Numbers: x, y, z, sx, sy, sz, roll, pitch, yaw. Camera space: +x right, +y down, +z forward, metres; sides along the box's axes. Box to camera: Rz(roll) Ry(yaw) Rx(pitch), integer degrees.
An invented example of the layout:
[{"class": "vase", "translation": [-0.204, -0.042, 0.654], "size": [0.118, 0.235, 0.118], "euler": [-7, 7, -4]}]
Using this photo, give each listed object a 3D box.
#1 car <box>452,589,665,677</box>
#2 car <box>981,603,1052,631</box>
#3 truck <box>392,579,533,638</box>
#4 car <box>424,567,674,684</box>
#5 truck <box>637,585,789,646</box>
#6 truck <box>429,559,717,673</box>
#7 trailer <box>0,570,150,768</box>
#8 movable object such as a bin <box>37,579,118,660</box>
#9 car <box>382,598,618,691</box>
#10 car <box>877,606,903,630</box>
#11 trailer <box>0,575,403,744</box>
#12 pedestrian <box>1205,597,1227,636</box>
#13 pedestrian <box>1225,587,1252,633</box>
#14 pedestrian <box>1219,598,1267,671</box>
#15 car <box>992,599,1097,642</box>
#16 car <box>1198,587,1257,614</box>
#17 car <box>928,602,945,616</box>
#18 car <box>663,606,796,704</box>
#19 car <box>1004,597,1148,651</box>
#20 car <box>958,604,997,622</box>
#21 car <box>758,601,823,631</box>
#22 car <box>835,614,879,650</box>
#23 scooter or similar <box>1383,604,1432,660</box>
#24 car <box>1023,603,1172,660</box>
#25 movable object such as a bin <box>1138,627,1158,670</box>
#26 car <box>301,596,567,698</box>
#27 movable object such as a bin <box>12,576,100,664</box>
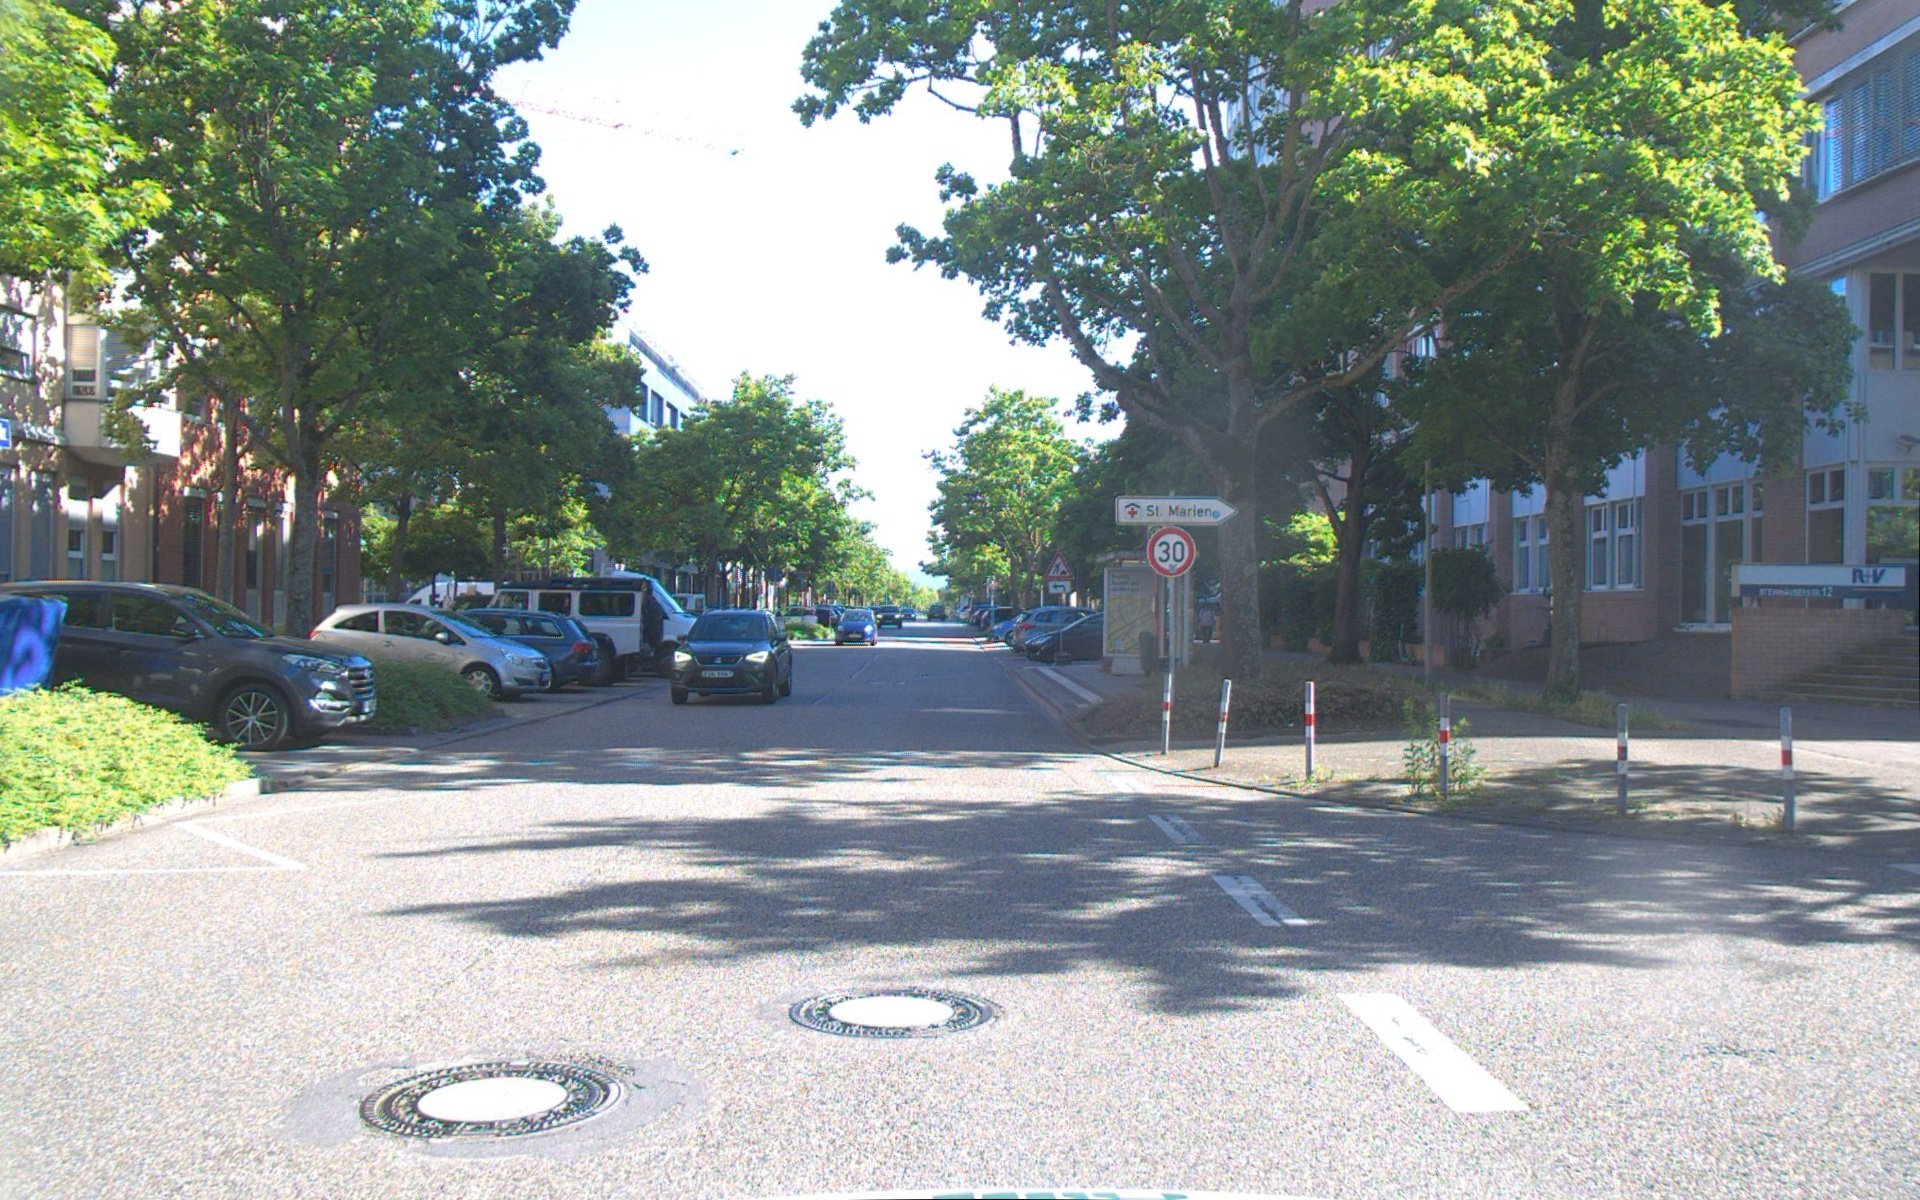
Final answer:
[{"class": "car", "translation": [-8.498, 0.699, 35.292], "size": [4.024, 1.691, 1.999], "euler": [2, -1, -1]}, {"class": "car", "translation": [3.417, 1.006, 101.225], "size": [4.183, 1.662, 1.857], "euler": [0, 0, -4]}, {"class": "truck", "translation": [-23.641, 0.395, 78.830], "size": [5.982, 2.752, 2.576], "euler": [0, 0, -3]}, {"class": "car", "translation": [-8.084, 0.506, 32.833], "size": [4.390, 2.087, 2.000], "euler": [2, -1, -1]}, {"class": "truck", "translation": [-8.512, 0.539, 57.351], "size": [4.882, 1.993, 2.138], "euler": [1, 0, 1]}, {"class": "truck", "translation": [-8.830, 0.369, 38.172], "size": [6.105, 2.464, 2.187], "euler": [1, 0, -1]}, {"class": "trailer", "translation": [-9.310, 0.567, 15.363], "size": [2.669, 1.717, 1.712], "euler": [2, 0, -1]}, {"class": "movable object such as a bin", "translation": [-17.653, 0.393, 33.126], "size": [1.125, 1.590, 1.240], "euler": [0, 0, -13]}, {"class": "car", "translation": [-8.268, 0.785, 29.980], "size": [3.701, 1.518, 1.833], "euler": [2, 0, 0]}, {"class": "car", "translation": [-5.188, 1.319, 122.720], "size": [1.854, 1.713, 4.350], "euler": [0, 0, -3]}, {"class": "trailer", "translation": [-8.377, 0.600, 17.700], "size": [4.177, 1.599, 1.854], "euler": [2, 0, -5]}, {"class": "pedestrian", "translation": [9.729, 0.636, 62.897], "size": [0.686, 1.483, 0.715], "euler": [0, 0, -3]}, {"class": "pedestrian", "translation": [10.907, 0.392, 64.886], "size": [0.683, 1.741, 0.918], "euler": [-3, 0, -12]}, {"class": "pedestrian", "translation": [6.977, 0.834, 40.850], "size": [0.902, 1.741, 0.695], "euler": [-3, 0, -14]}, {"class": "car", "translation": [3.595, 0.887, 71.147], "size": [4.316, 1.646, 1.911], "euler": [-2, 0, -2]}, {"class": "car", "translation": [20.195, 0.044, 124.941], "size": [3.992, 1.814, 1.998], "euler": [2, -1, -5]}, {"class": "car", "translation": [-2.692, 0.994, 187.634], "size": [1.894, 1.625, 4.365], "euler": [0, 0, -1]}, {"class": "car", "translation": [-3.851, 0.875, 28.218], "size": [1.743, 1.538, 3.999], "euler": [1, 0, -1]}, {"class": "car", "translation": [3.638, 0.756, 52.457], "size": [4.269, 1.625, 1.936], "euler": [1, 0, -7]}, {"class": "car", "translation": [1.838, 1.318, 172.690], "size": [3.910, 1.824, 1.997], "euler": [1, 0, -6]}, {"class": "car", "translation": [-9.421, 0.881, 92.015], "size": [3.509, 1.577, 1.636], "euler": [1, -3, -3]}, {"class": "car", "translation": [-4.277, 1.314, 69.126], "size": [1.610, 1.445, 3.999], "euler": [0, 0, -1]}, {"class": "scooter or similar", "translation": [11.212, 0.800, 41.493], "size": [0.538, 1.349, 1.803], "euler": [2, -1, -6]}, {"class": "car", "translation": [3.741, 0.854, 45.376], "size": [3.856, 1.464, 1.773], "euler": [1, 0, -3]}, {"class": "movable object such as a bin", "translation": [3.493, 0.897, 30.679], "size": [0.292, 0.767, 0.467], "euler": [-2, -1, -1]}, {"class": "car", "translation": [-8.589, 0.748, 27.219], "size": [3.755, 1.486, 1.733], "euler": [2, 0, 2]}, {"class": "movable object such as a bin", "translation": [-17.381, 0.382, 31.842], "size": [1.125, 1.648, 1.437], "euler": [0, 0, -13]}]
